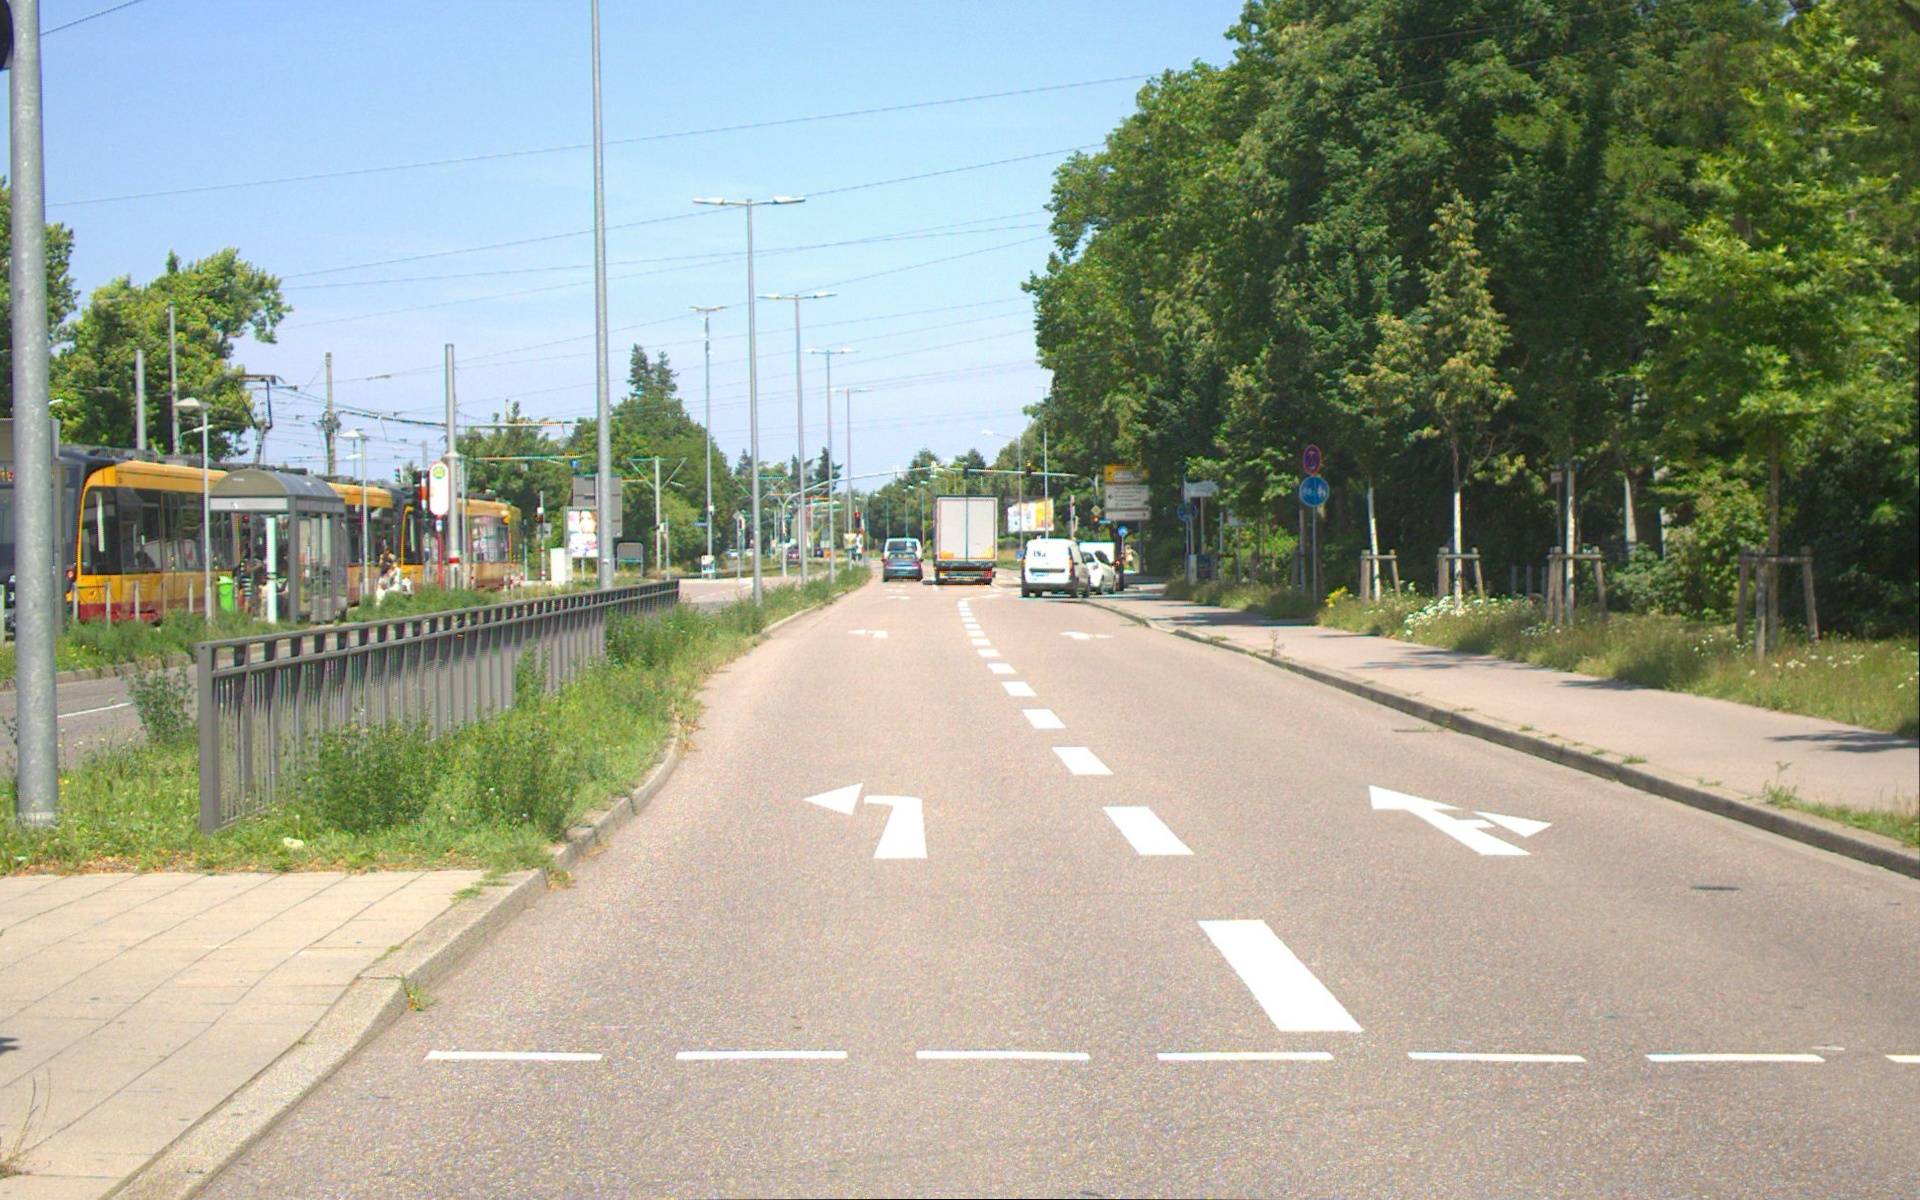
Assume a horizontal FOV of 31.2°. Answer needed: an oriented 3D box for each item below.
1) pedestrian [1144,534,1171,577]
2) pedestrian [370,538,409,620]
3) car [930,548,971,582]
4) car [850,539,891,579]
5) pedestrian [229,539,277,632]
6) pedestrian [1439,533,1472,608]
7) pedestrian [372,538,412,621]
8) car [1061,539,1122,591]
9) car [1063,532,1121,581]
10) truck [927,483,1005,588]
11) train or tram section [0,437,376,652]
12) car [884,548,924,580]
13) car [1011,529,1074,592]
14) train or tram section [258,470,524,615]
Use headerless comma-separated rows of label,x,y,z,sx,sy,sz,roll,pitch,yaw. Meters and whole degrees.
pedestrian,9.452,-2.133,164.799,1.185,2.007,1.214,0,1,0
pedestrian,-14.096,-0.528,84.953,0.815,2.007,0.938,0,1,-1
car,-0.435,-1.564,153.623,1.811,1.459,4.000,0,1,-1
car,-4.555,-2.082,175.171,1.993,2.007,4.000,0,1,-1
pedestrian,-14.258,-0.305,69.307,0.785,1.862,0.817,0,1,-1
pedestrian,9.597,-0.570,66.626,0.604,1.433,0.556,0,1,6
pedestrian,-13.818,-0.512,83.660,0.815,2.007,0.938,0,1,-1
car,4.297,-1.156,112.451,1.779,1.663,4.000,0,1,-1
car,4.546,-1.520,118.794,1.779,1.663,4.000,0,1,-1
truck,0.211,-2.725,146.058,3.205,4.344,6.561,0,1,-1
train or tram section,-16.470,-1.224,74.749,2.957,3.736,30.035,0,1,-1
car,-2.559,-1.658,157.890,1.811,1.459,4.000,0,1,-1
car,2.508,-1.227,105.521,1.779,1.897,4.000,0,1,-1
train or tram section,-16.933,-1.799,106.222,2.931,3.776,33.089,0,1,0
